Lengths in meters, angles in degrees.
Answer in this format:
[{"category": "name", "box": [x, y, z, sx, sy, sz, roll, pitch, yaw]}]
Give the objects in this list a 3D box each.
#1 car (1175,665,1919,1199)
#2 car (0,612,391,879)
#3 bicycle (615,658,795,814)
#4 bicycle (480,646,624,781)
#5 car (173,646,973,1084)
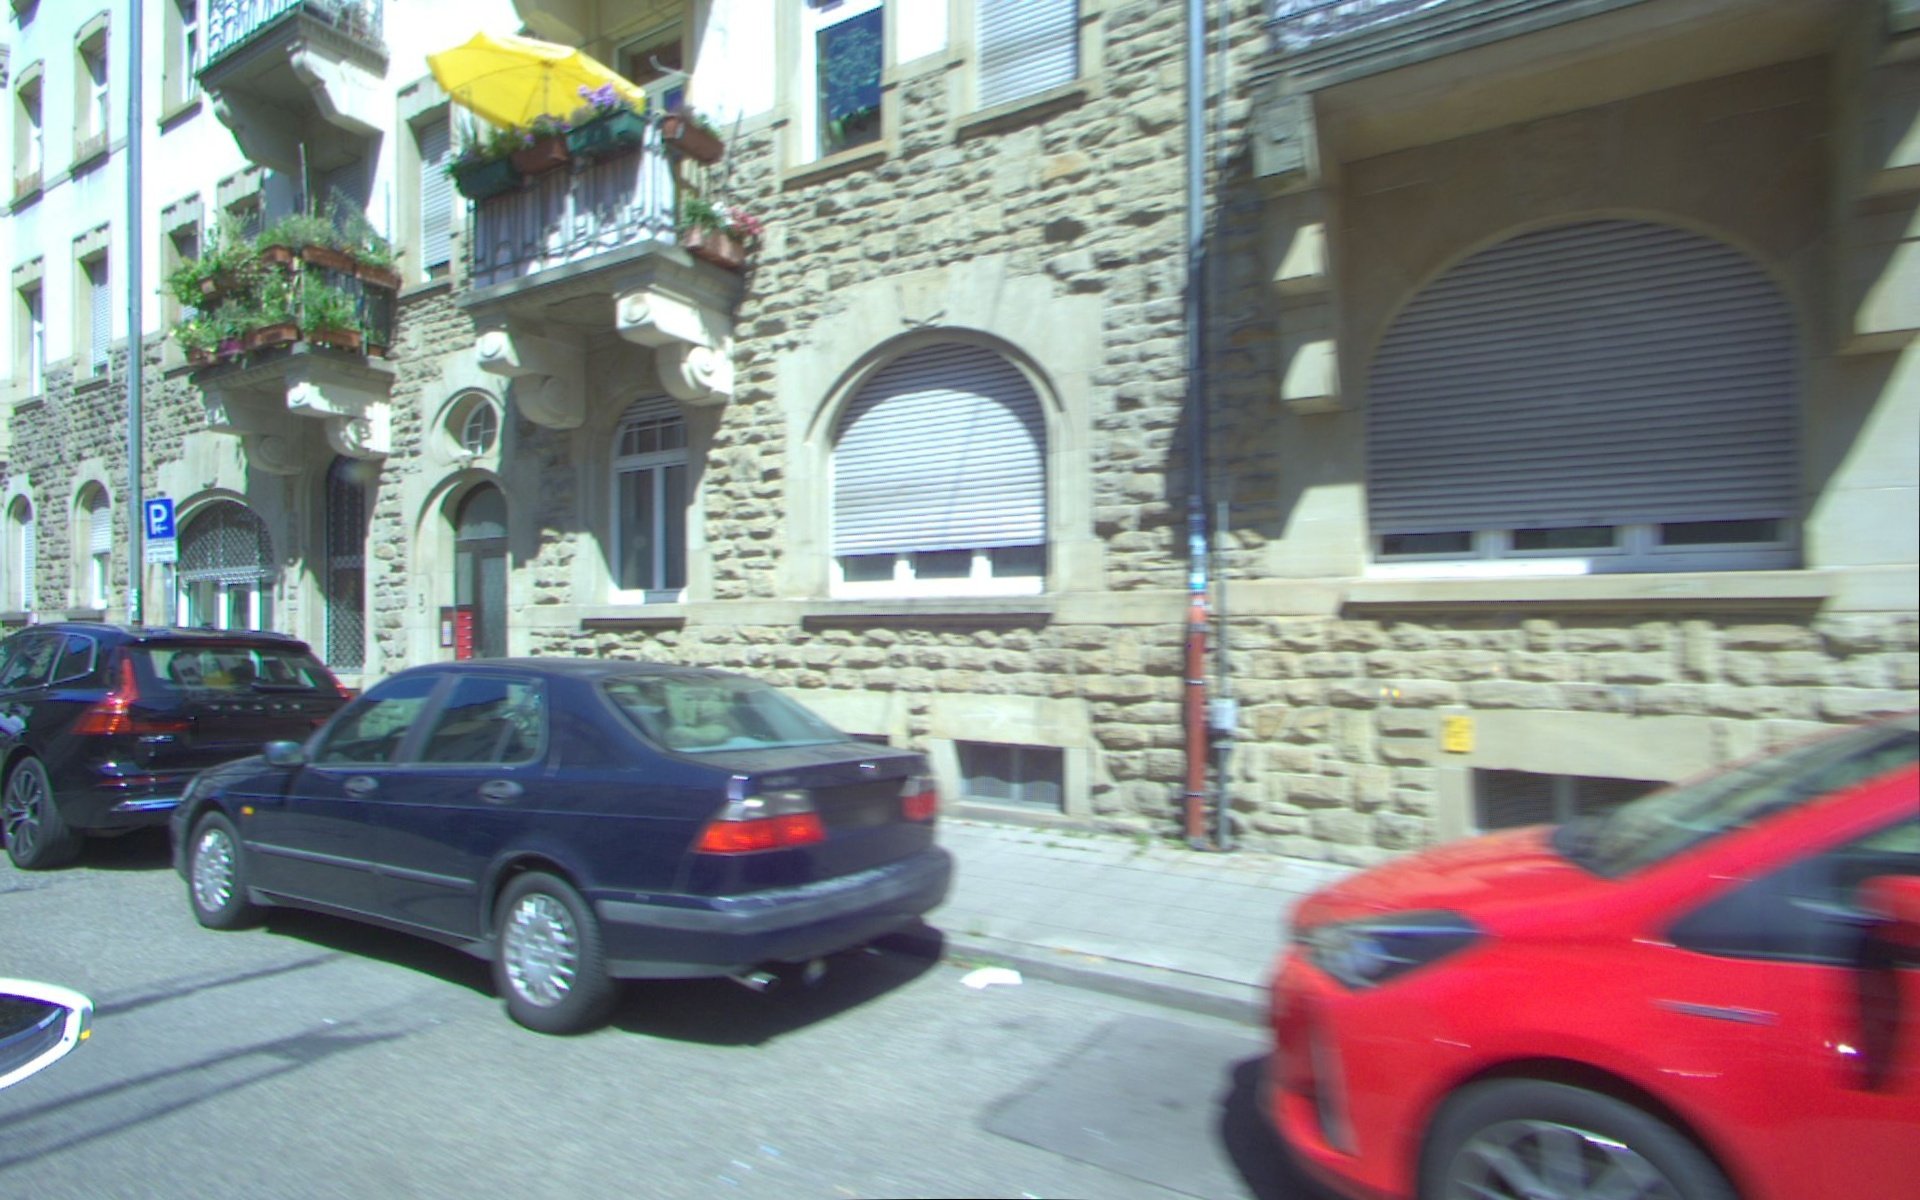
[{"category": "car", "box": [2.558, 0.912, 2.205, 3.787, 1.470, 1.569, -1, -4, 32]}, {"category": "car", "box": [-6.750, 0.968, 7.932, 4.536, 1.586, 1.832, -1, -4, 30]}, {"category": "bicycle", "box": [-2.242, 1.128, 8.695, 1.750, 1.223, 0.440, -1, -1, 33]}, {"category": "bicycle", "box": [-4.023, 1.066, 9.814, 1.750, 1.223, 0.383, -1, -1, 33]}, {"category": "car", "box": [-2.022, 0.989, 4.959, 3.913, 1.415, 1.513, -1, -6, 30]}]
